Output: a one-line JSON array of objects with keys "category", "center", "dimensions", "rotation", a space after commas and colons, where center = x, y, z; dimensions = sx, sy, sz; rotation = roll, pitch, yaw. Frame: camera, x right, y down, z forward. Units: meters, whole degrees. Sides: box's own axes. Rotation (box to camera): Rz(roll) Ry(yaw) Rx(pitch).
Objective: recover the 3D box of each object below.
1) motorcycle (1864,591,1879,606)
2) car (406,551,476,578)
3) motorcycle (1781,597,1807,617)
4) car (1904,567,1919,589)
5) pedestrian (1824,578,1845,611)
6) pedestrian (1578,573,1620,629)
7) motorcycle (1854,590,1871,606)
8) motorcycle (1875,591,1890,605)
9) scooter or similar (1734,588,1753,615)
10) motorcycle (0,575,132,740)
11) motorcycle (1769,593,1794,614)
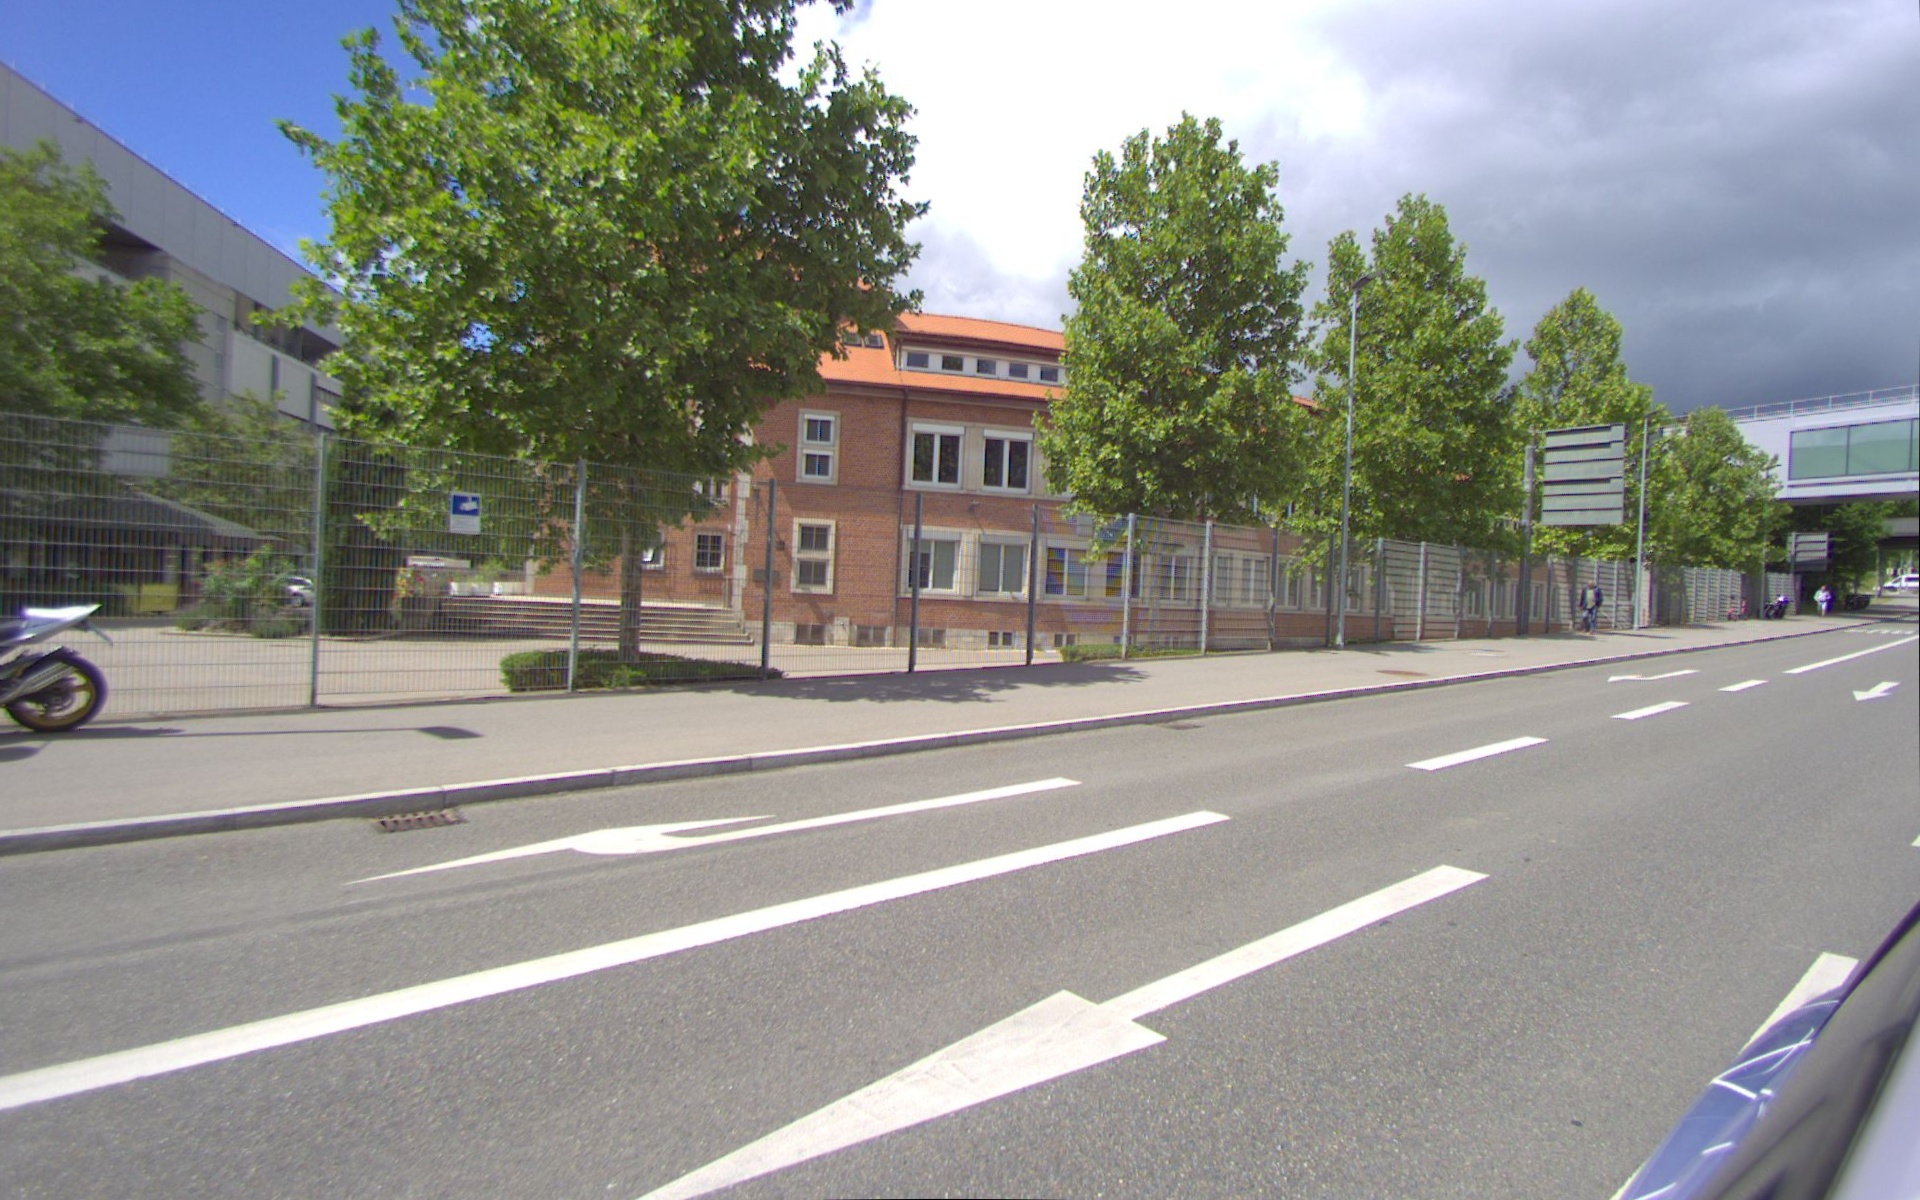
[{"category": "motorcycle", "center": [71.172, -0.127, 78.995], "dimensions": [2.004, 1.096, 0.679], "rotation": [-1, 2, -43]}, {"category": "car", "center": [-35.911, -2.458, 70.156], "dimensions": [3.916, 1.805, 2.004], "rotation": [-1, 1, -13]}, {"category": "motorcycle", "center": [46.833, 0.374, 56.832], "dimensions": [2.467, 1.077, 0.709], "rotation": [-1, 4, -43]}, {"category": "car", "center": [135.669, -3.117, 141.363], "dimensions": [2.039, 3.075, 5.208], "rotation": [0, 1, -35]}, {"category": "pedestrian", "center": [53.098, -0.338, 61.474], "dimensions": [1.078, 1.911, 0.790], "rotation": [0, 2, -43]}, {"category": "pedestrian", "center": [21.013, 0.017, 33.275], "dimensions": [0.924, 1.764, 0.879], "rotation": [0, 3, -42]}, {"category": "motorcycle", "center": [68.450, -0.125, 76.720], "dimensions": [2.076, 1.168, 0.679], "rotation": [0, 2, -41]}, {"category": "motorcycle", "center": [73.284, -0.192, 80.404], "dimensions": [2.144, 1.096, 0.679], "rotation": [-1, 2, -43]}, {"category": "scooter or similar", "center": [39.002, 0.048, 50.377], "dimensions": [1.314, 1.310, 0.492], "rotation": [0, 3, -42]}, {"category": "motorcycle", "center": [-7.395, 0.413, 7.319], "dimensions": [0.693, 1.172, 2.113], "rotation": [4, 3, 44]}, {"category": "motorcycle", "center": [44.512, 0.171, 54.814], "dimensions": [2.209, 1.077, 0.669], "rotation": [0, 4, -43]}]
